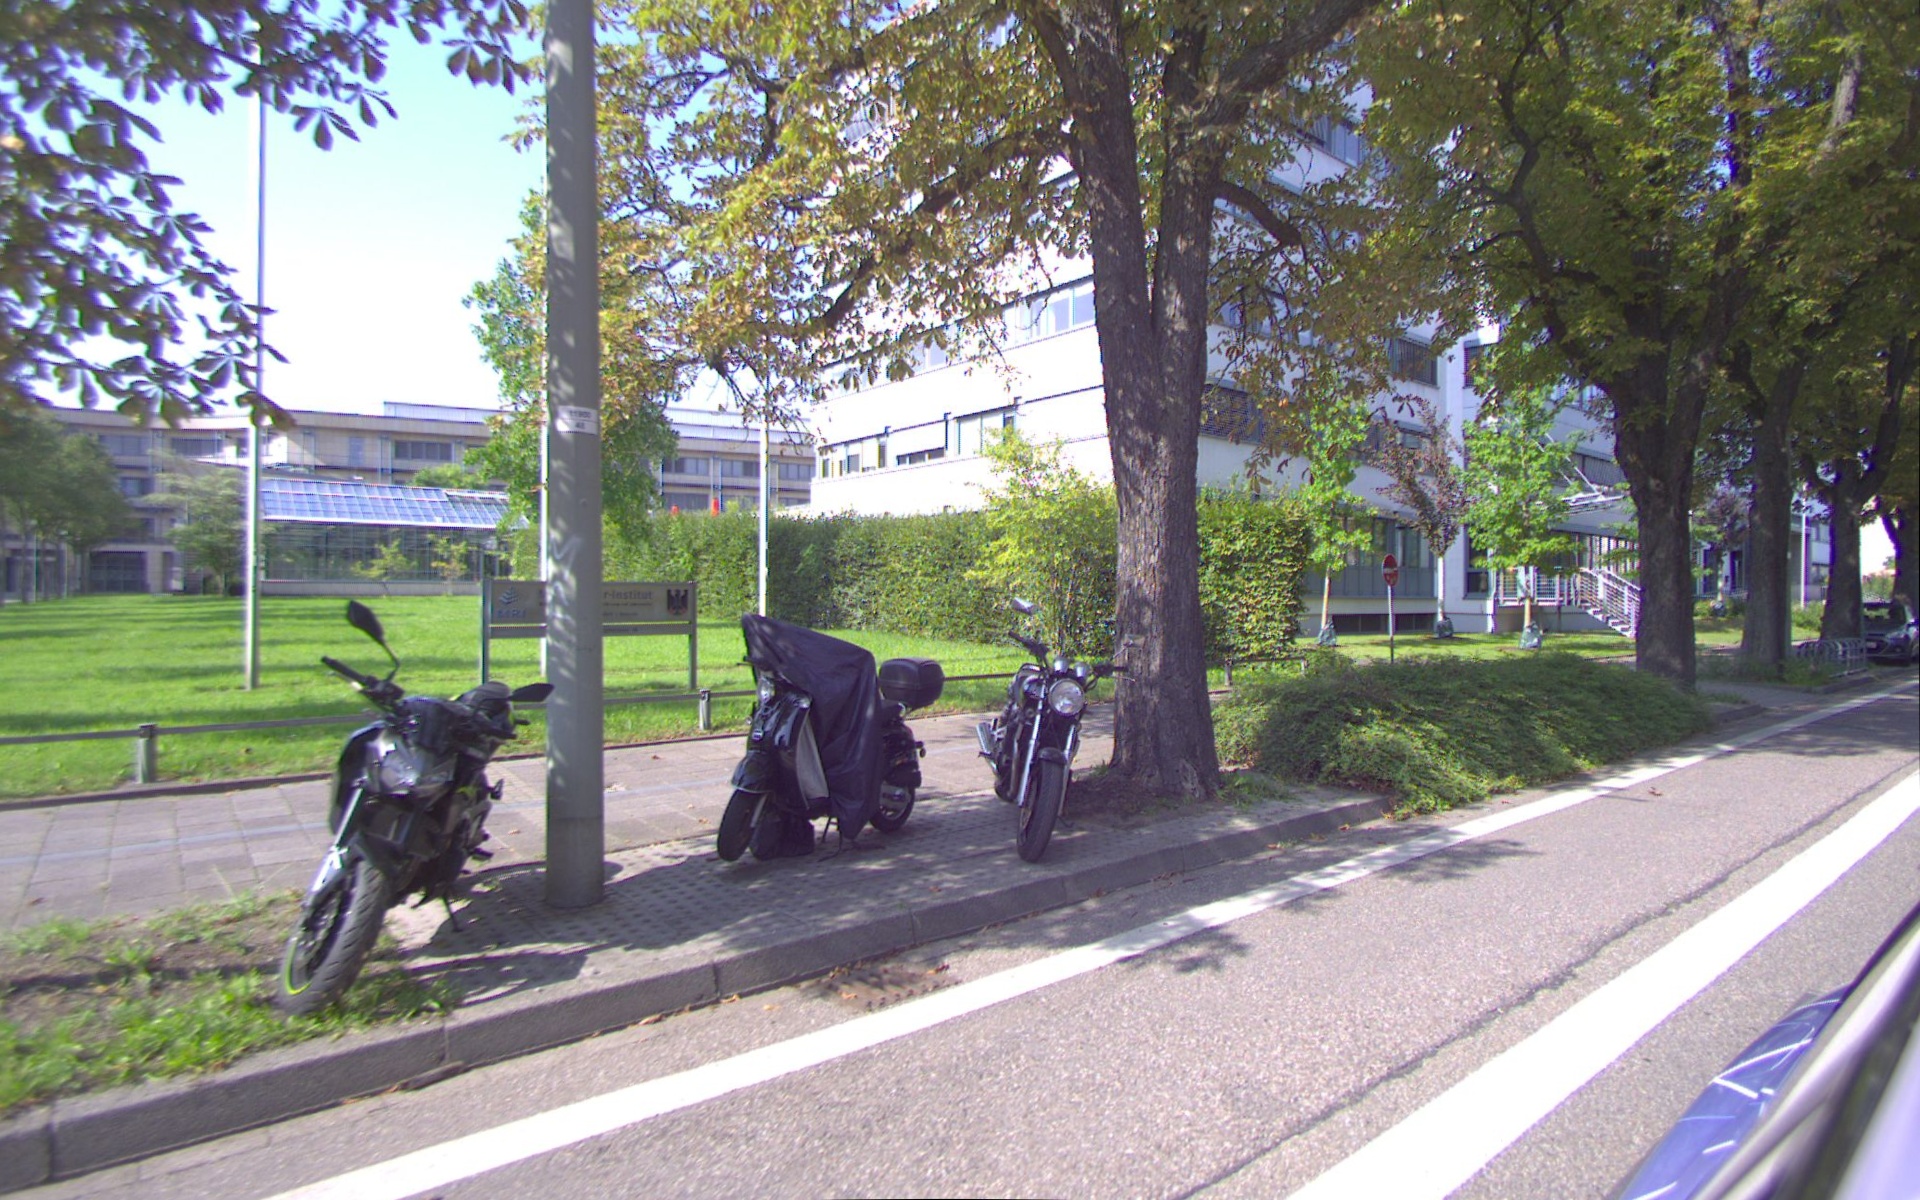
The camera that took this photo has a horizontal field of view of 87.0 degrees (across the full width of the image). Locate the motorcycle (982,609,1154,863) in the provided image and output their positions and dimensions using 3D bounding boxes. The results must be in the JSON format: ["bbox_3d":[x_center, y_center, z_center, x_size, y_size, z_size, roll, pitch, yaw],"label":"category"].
[{"bbox_3d":[0.594,0.733,6.403,0.829,1.258,2.067,1,1,0],"label":"motorcycle"}]

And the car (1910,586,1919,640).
[{"bbox_3d":[31.755,0.425,32.128,4.110,1.673,1.865,0,2,-40],"label":"car"}]

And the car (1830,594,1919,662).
[{"bbox_3d":[22.504,0.625,24.595,3.503,1.459,1.565,0,3,-42],"label":"car"}]

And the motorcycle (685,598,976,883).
[{"bbox_3d":[-0.664,0.686,6.071,0.835,1.343,2.052,1,1,22],"label":"motorcycle"}]

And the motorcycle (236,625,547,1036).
[{"bbox_3d":[-2.239,0.760,4.267,0.632,1.240,1.993,0,0,-14],"label":"motorcycle"}]
